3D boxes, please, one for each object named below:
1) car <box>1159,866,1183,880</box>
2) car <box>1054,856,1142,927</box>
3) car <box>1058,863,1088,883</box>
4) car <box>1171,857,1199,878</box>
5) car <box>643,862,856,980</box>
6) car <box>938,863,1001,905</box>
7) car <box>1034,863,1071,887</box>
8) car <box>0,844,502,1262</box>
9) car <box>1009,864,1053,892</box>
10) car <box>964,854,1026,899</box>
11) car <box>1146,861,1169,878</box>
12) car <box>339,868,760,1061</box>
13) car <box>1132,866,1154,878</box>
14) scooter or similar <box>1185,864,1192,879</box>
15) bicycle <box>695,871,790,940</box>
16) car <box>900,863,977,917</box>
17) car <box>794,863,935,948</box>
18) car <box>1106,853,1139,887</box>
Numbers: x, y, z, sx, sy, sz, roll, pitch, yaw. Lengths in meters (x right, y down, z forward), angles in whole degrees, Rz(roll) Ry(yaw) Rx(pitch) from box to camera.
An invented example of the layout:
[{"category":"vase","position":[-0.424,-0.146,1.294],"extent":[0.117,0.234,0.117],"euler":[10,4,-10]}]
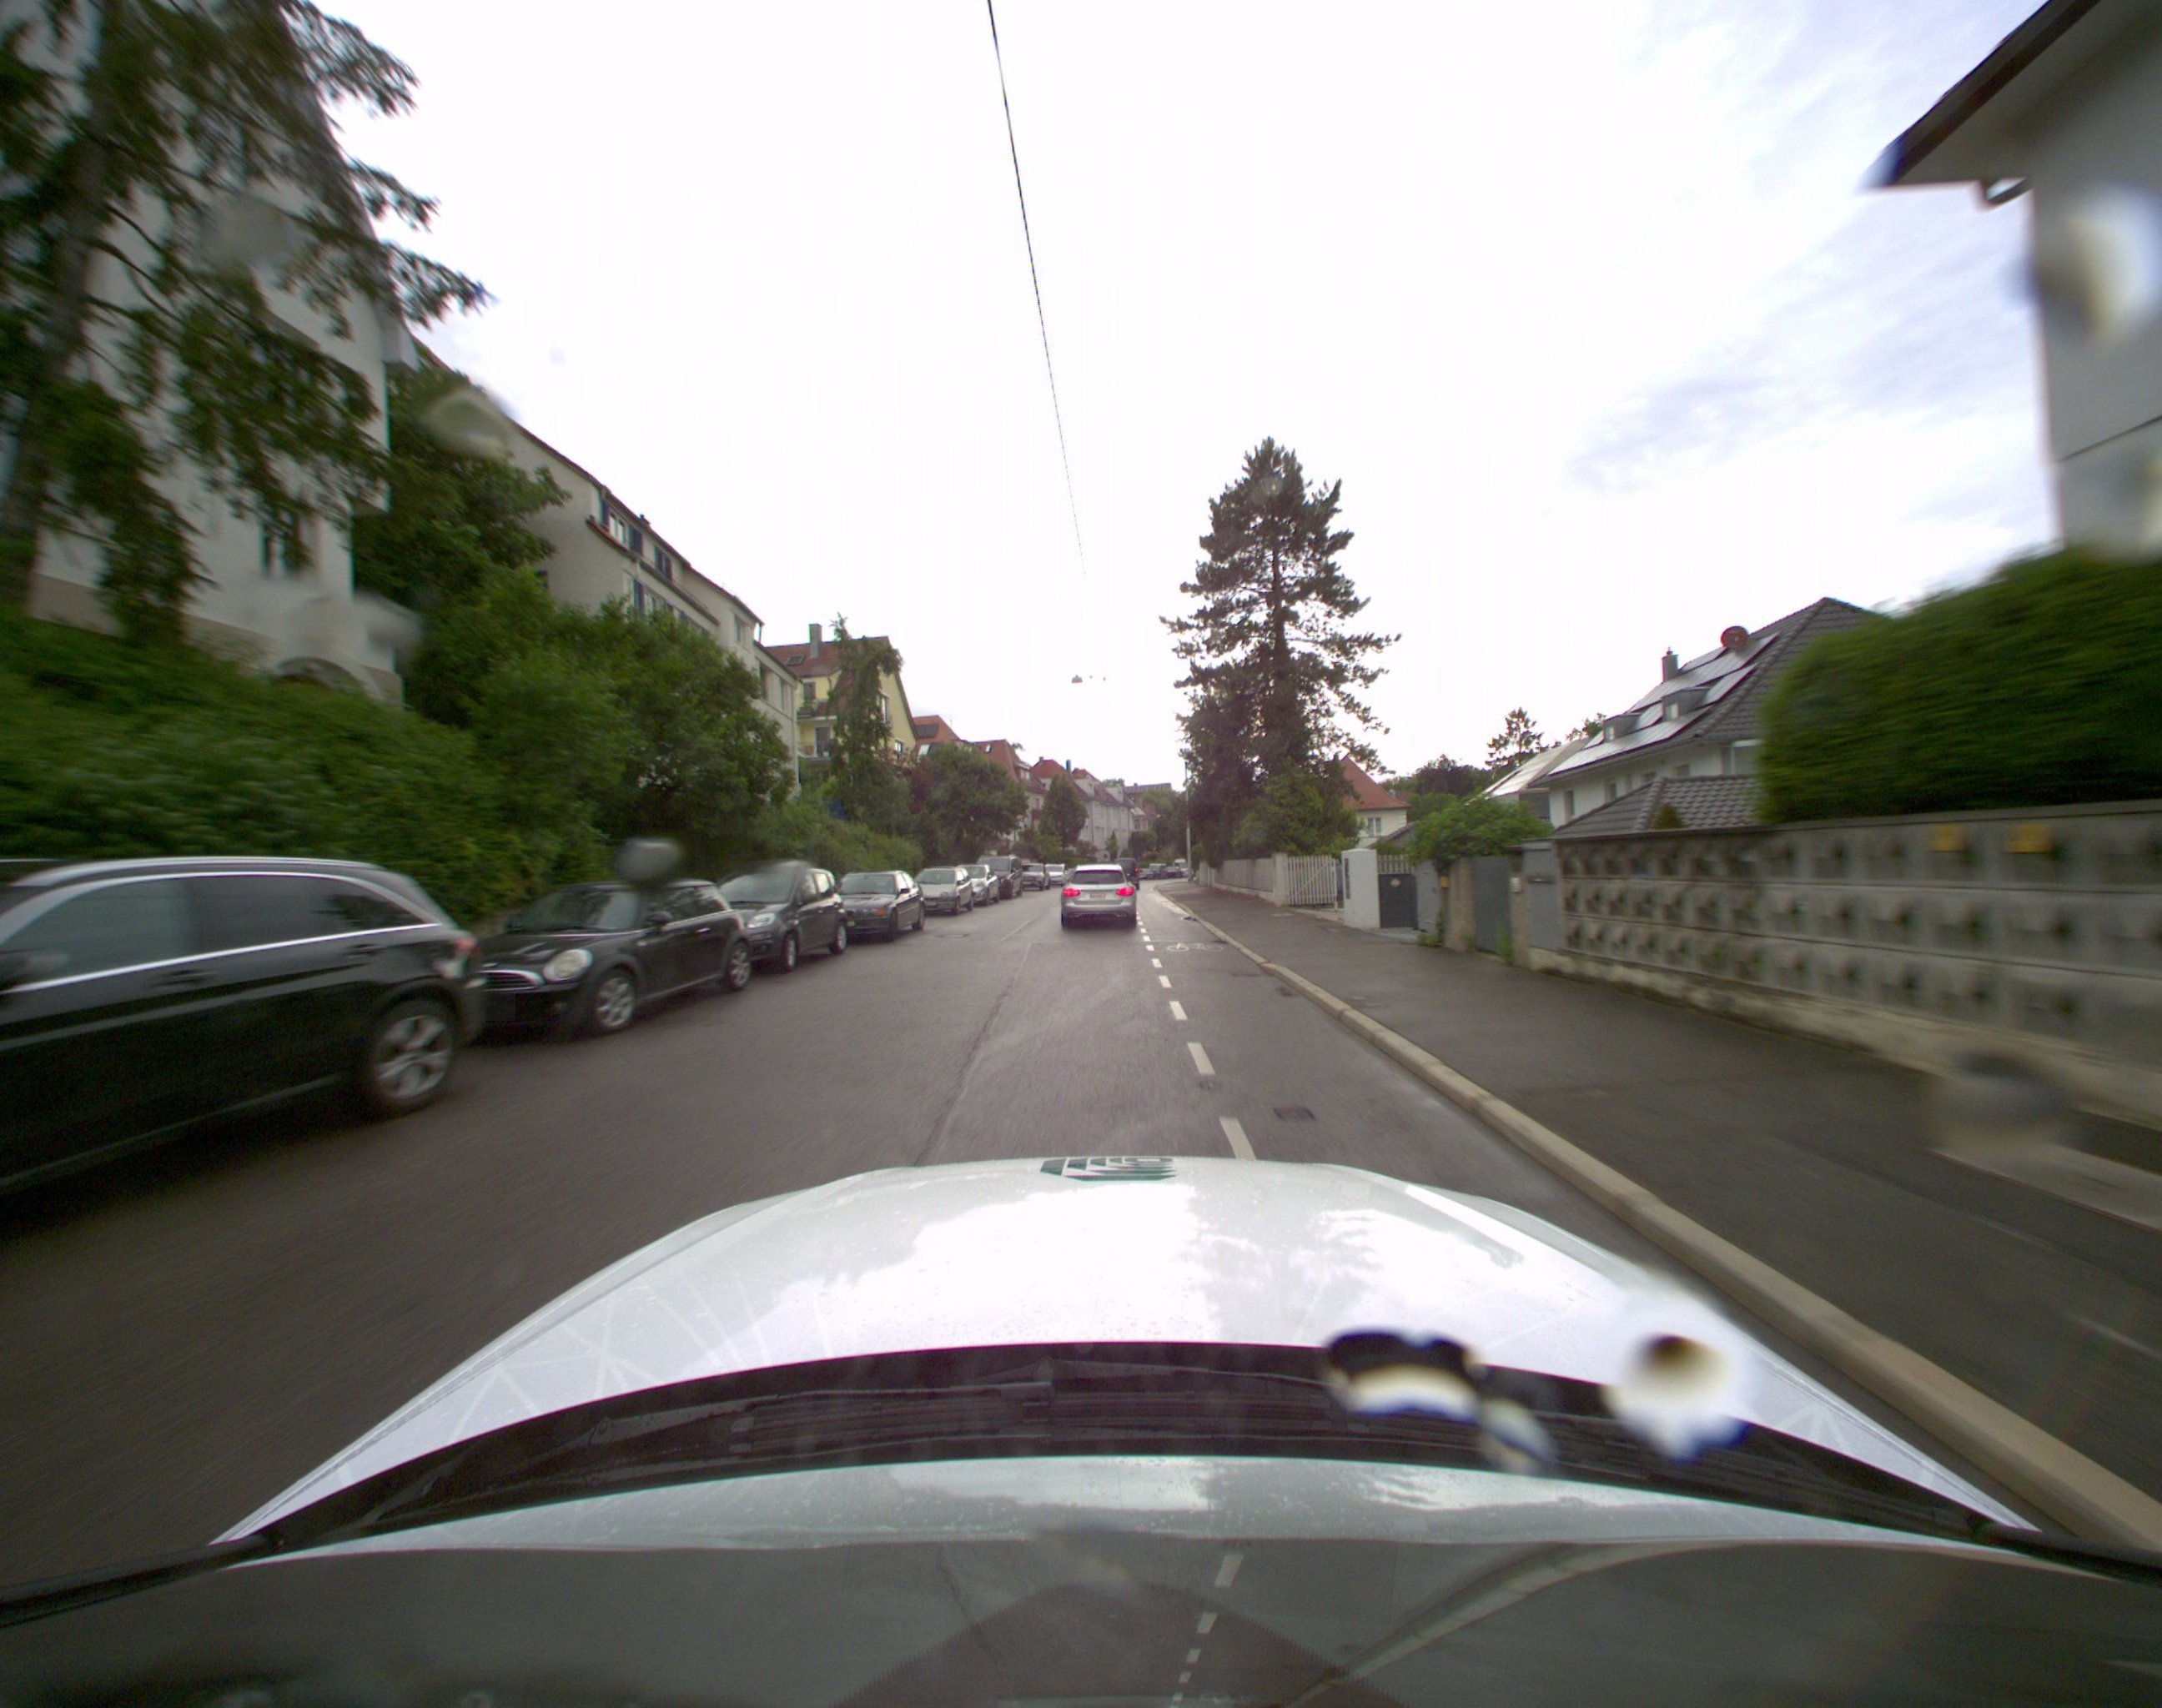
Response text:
[{"category":"car","position":[12.316,2.556,111.707],"extent":[1.976,1.688,4.702],"euler":[-1,1,23]},{"category":"car","position":[0.522,0.856,20.099],"extent":[1.807,1.556,4.006],"euler":[-1,-1,6]},{"category":"car","position":[-0.649,1.545,68.371],"extent":[1.781,1.581,4.149],"euler":[1,-1,9]},{"category":"car","position":[15.278,1.972,118.917],"extent":[2.370,2.772,6.567],"euler":[-1,1,22]},{"category":"car","position":[-4.996,0.921,12.863],"extent":[1.690,1.541,3.815],"euler":[-1,0,1]},{"category":"car","position":[-4.161,1.088,30.915],"extent":[1.687,1.447,3.816],"euler":[-1,-1,3]},{"category":"car","position":[-2.044,1.512,59.924],"extent":[1.983,1.702,4.747],"euler":[1,-1,7]},{"category":"car","position":[-5.156,0.794,3.734],"extent":[1.887,1.622,4.377],"euler":[-1,0,-1]},{"category":"car","position":[-3.007,1.445,49.947],"extent":[1.984,1.581,4.767],"euler":[1,-1,5]},{"category":"car","position":[-3.847,0.983,37.353],"extent":[1.985,1.878,5.361],"euler":[0,-1,3]},{"category":"car","position":[9.985,2.013,105.534],"extent":[1.814,2.056,5.034],"euler":[-1,-1,19]},{"category":"car","position":[-5.214,0.964,8.738],"extent":[1.886,1.447,3.815],"euler":[-1,1,1]},{"category":"car","position":[7.572,2.172,99.247],"extent":[1.631,1.417,4.632],"euler":[-1,-1,17]},{"category":"scooter or similar","position":[9.775,1.616,73.744],"extent":[0.446,1.307,1.486],"euler":[-3,-2,12]},{"category":"bicycle","position":[-7.374,1.079,17.895],"extent":[1.000,1.301,2.292],"euler":[-1,1,2]},{"category":"car","position":[-4.412,1.064,25.698],"extent":[1.640,1.447,3.629],"euler":[-1,1,1]},{"category":"car","position":[-4.524,1.014,17.765],"extent":[1.749,1.446,4.418],"euler":[-1,1,2]},{"category":"car","position":[2.499,0.972,48.586],"extent":[1.835,1.904,4.003],"euler":[-1,-1,4]}]
